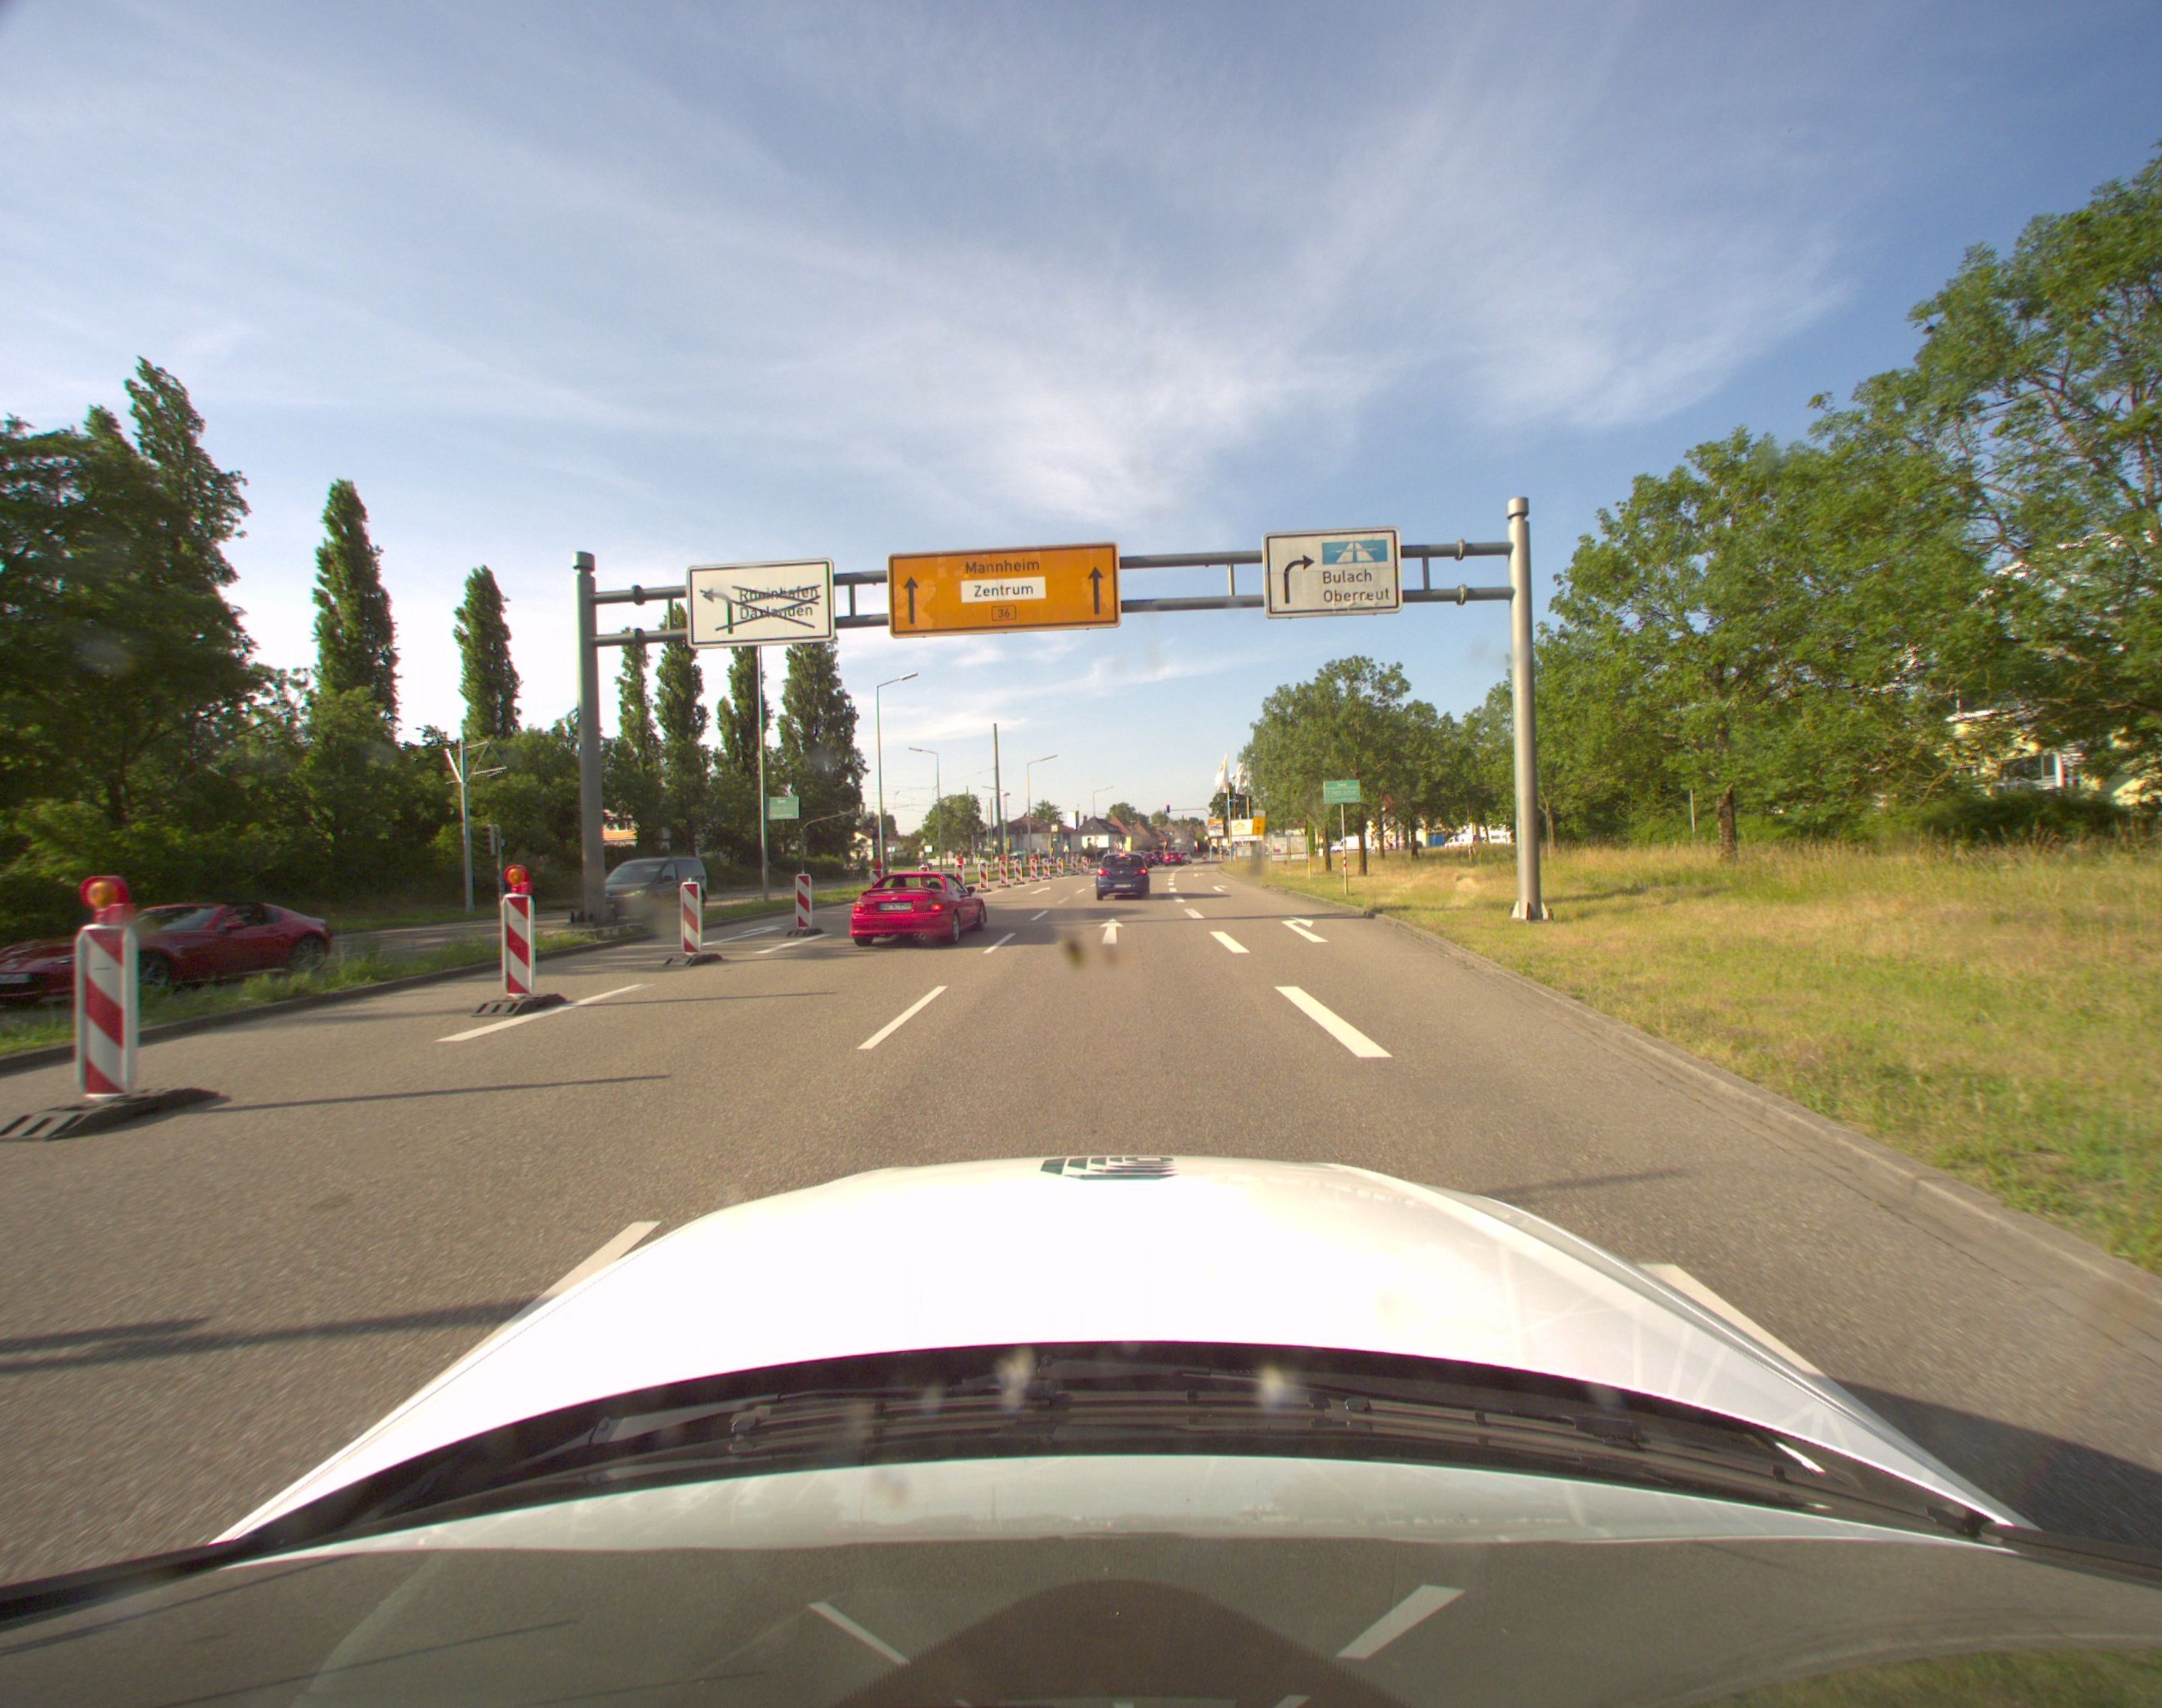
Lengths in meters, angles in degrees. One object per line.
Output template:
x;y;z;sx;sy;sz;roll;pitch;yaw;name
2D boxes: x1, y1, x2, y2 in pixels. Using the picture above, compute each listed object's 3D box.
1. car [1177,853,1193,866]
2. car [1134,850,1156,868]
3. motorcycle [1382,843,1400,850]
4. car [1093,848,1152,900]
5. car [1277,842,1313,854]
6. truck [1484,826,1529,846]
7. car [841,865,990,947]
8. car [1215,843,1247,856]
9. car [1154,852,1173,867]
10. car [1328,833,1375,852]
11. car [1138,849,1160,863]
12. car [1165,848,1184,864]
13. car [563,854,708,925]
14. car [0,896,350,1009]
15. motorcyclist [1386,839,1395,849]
12.515;0.641;97.840;1.646;1.443;4.026;-3;0;10;car
6.230;0.434;79.138;1.753;1.670;4.095;-2;0;10;car
44.385;-1.072;116.703;2.256;0.866;0.693;-2;0;11;motorcycle
1.403;0.603;26.799;1.734;1.505;4.227;-2;0;4;car
31.556;-0.825;120.277;5.059;1.563;1.846;-2;0;13;car
67.294;-2.867;128.906;1.903;2.854;6.015;-2;0;-33;truck
-2.847;0.857;14.871;1.724;1.206;3.850;-1;0;3;car
19.967;-0.586;108.600;3.958;1.486;2.008;-3;0;14;car
10.010;0.609;98.498;1.495;1.651;4.763;-2;0;15;car
39.285;-1.681;118.485;6.165;2.583;2.007;-2;0;12;car
7.524;0.186;89.339;1.688;1.508;4.570;-2;0;13;car
9.740;0.235;84.674;1.696;1.552;3.989;-3;0;10;car
-12.993;0.959;24.087;1.778;1.807;4.127;-2;0;3;car
-13.134;1.329;11.952;1.507;1.158;3.670;-1;0;-1;car
44.367;-1.420;116.708;1.058;1.352;0.682;-2;0;11;motorcyclist
